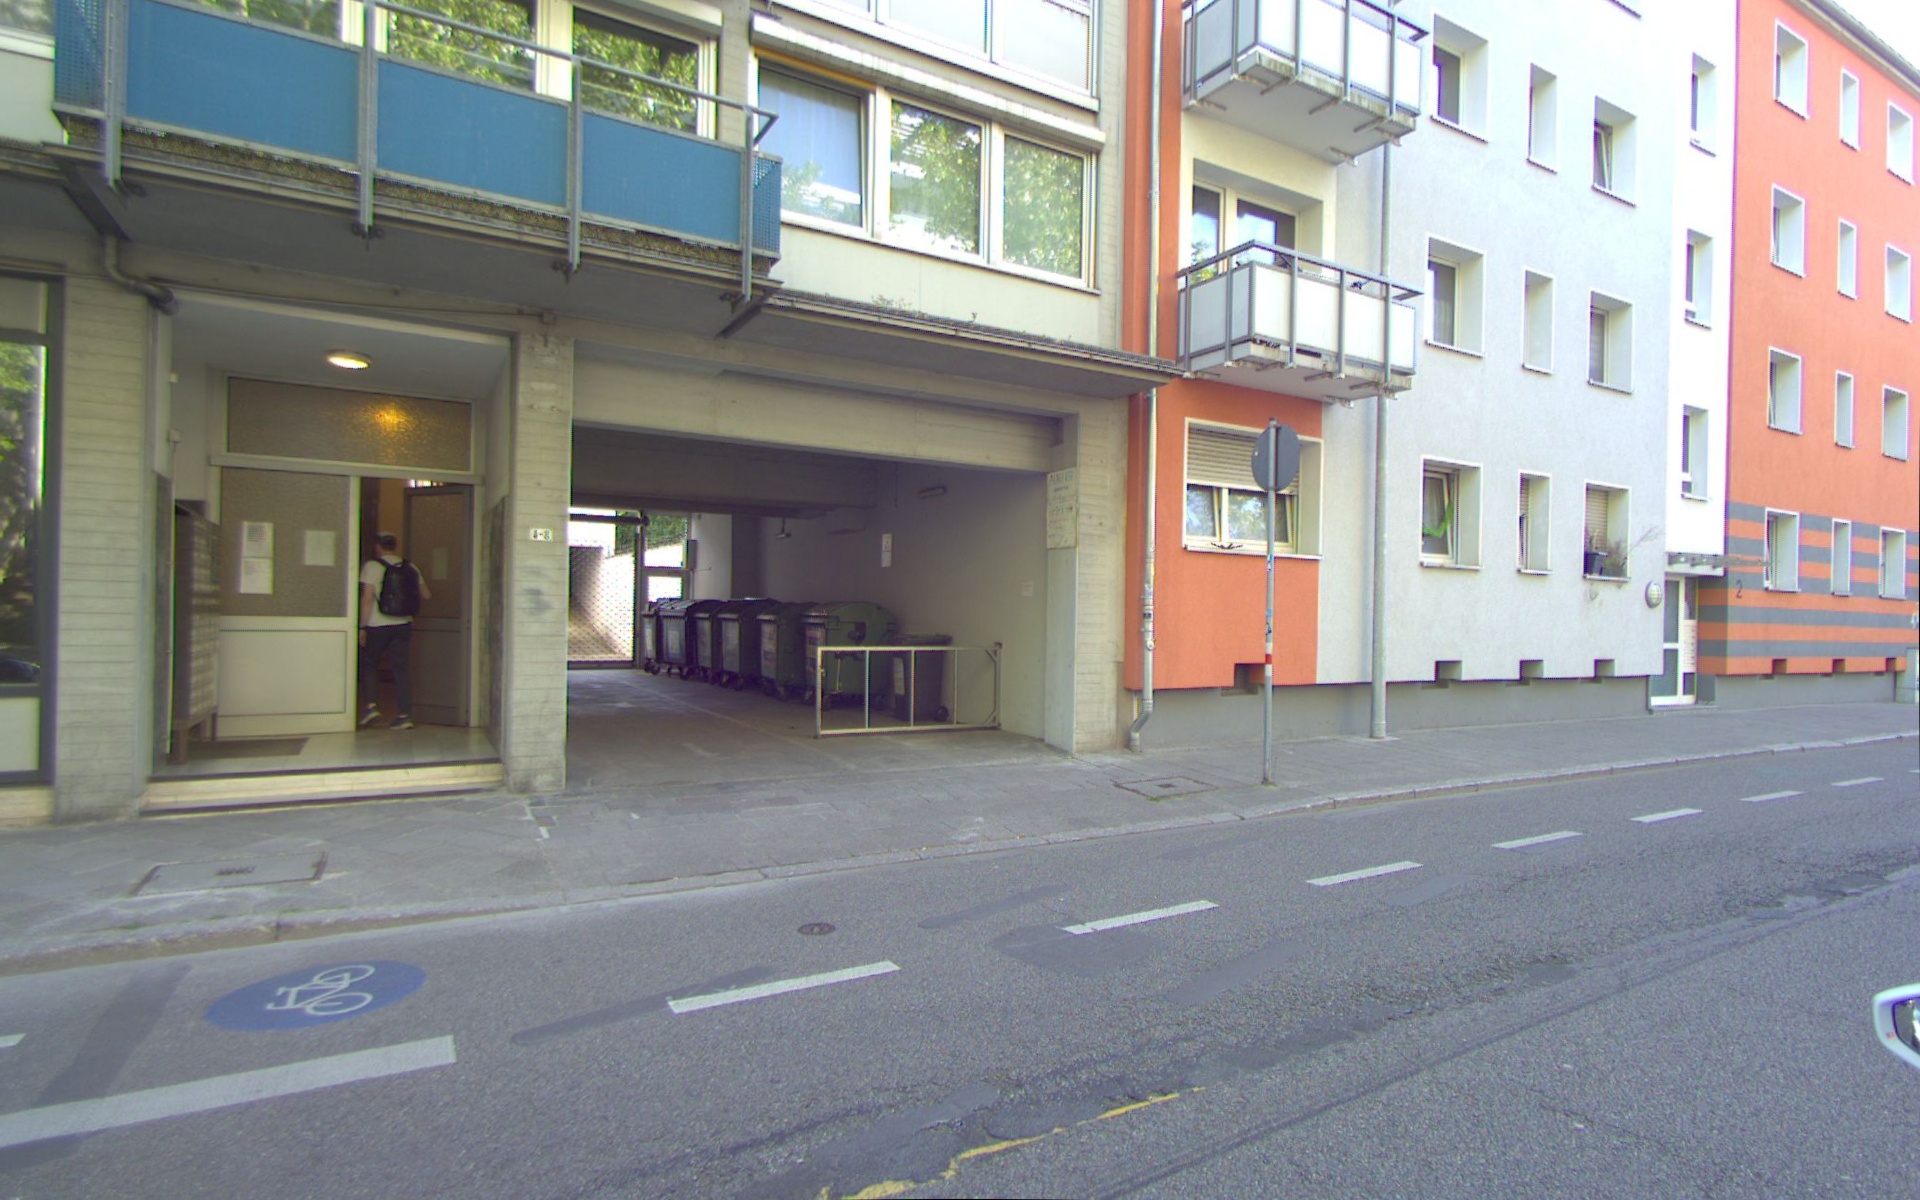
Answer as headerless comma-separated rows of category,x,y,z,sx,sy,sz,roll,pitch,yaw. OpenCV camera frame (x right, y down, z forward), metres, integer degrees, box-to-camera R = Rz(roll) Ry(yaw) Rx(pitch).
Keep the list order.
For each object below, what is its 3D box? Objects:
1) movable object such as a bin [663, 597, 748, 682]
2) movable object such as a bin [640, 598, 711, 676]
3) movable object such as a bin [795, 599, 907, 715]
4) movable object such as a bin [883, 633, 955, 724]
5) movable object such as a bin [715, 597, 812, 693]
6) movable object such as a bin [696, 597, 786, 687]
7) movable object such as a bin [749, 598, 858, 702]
movable object such as a bin,-4.745,0.719,18.696,1.264,1.506,1.155,2,0,-28
movable object such as a bin,-5.663,0.730,19.952,1.128,1.484,1.129,2,0,-28
movable object such as a bin,-1.514,0.754,13.815,1.128,1.484,1.255,2,0,-28
movable object such as a bin,-0.515,0.959,12.462,0.694,1.061,0.567,2,0,-28
movable object such as a bin,-3.277,0.726,16.705,1.264,1.506,1.155,2,0,-28
movable object such as a bin,-3.880,0.727,17.753,1.264,1.515,1.155,2,0,-28
movable object such as a bin,-2.380,0.734,15.168,1.264,1.493,1.265,2,-1,-28
